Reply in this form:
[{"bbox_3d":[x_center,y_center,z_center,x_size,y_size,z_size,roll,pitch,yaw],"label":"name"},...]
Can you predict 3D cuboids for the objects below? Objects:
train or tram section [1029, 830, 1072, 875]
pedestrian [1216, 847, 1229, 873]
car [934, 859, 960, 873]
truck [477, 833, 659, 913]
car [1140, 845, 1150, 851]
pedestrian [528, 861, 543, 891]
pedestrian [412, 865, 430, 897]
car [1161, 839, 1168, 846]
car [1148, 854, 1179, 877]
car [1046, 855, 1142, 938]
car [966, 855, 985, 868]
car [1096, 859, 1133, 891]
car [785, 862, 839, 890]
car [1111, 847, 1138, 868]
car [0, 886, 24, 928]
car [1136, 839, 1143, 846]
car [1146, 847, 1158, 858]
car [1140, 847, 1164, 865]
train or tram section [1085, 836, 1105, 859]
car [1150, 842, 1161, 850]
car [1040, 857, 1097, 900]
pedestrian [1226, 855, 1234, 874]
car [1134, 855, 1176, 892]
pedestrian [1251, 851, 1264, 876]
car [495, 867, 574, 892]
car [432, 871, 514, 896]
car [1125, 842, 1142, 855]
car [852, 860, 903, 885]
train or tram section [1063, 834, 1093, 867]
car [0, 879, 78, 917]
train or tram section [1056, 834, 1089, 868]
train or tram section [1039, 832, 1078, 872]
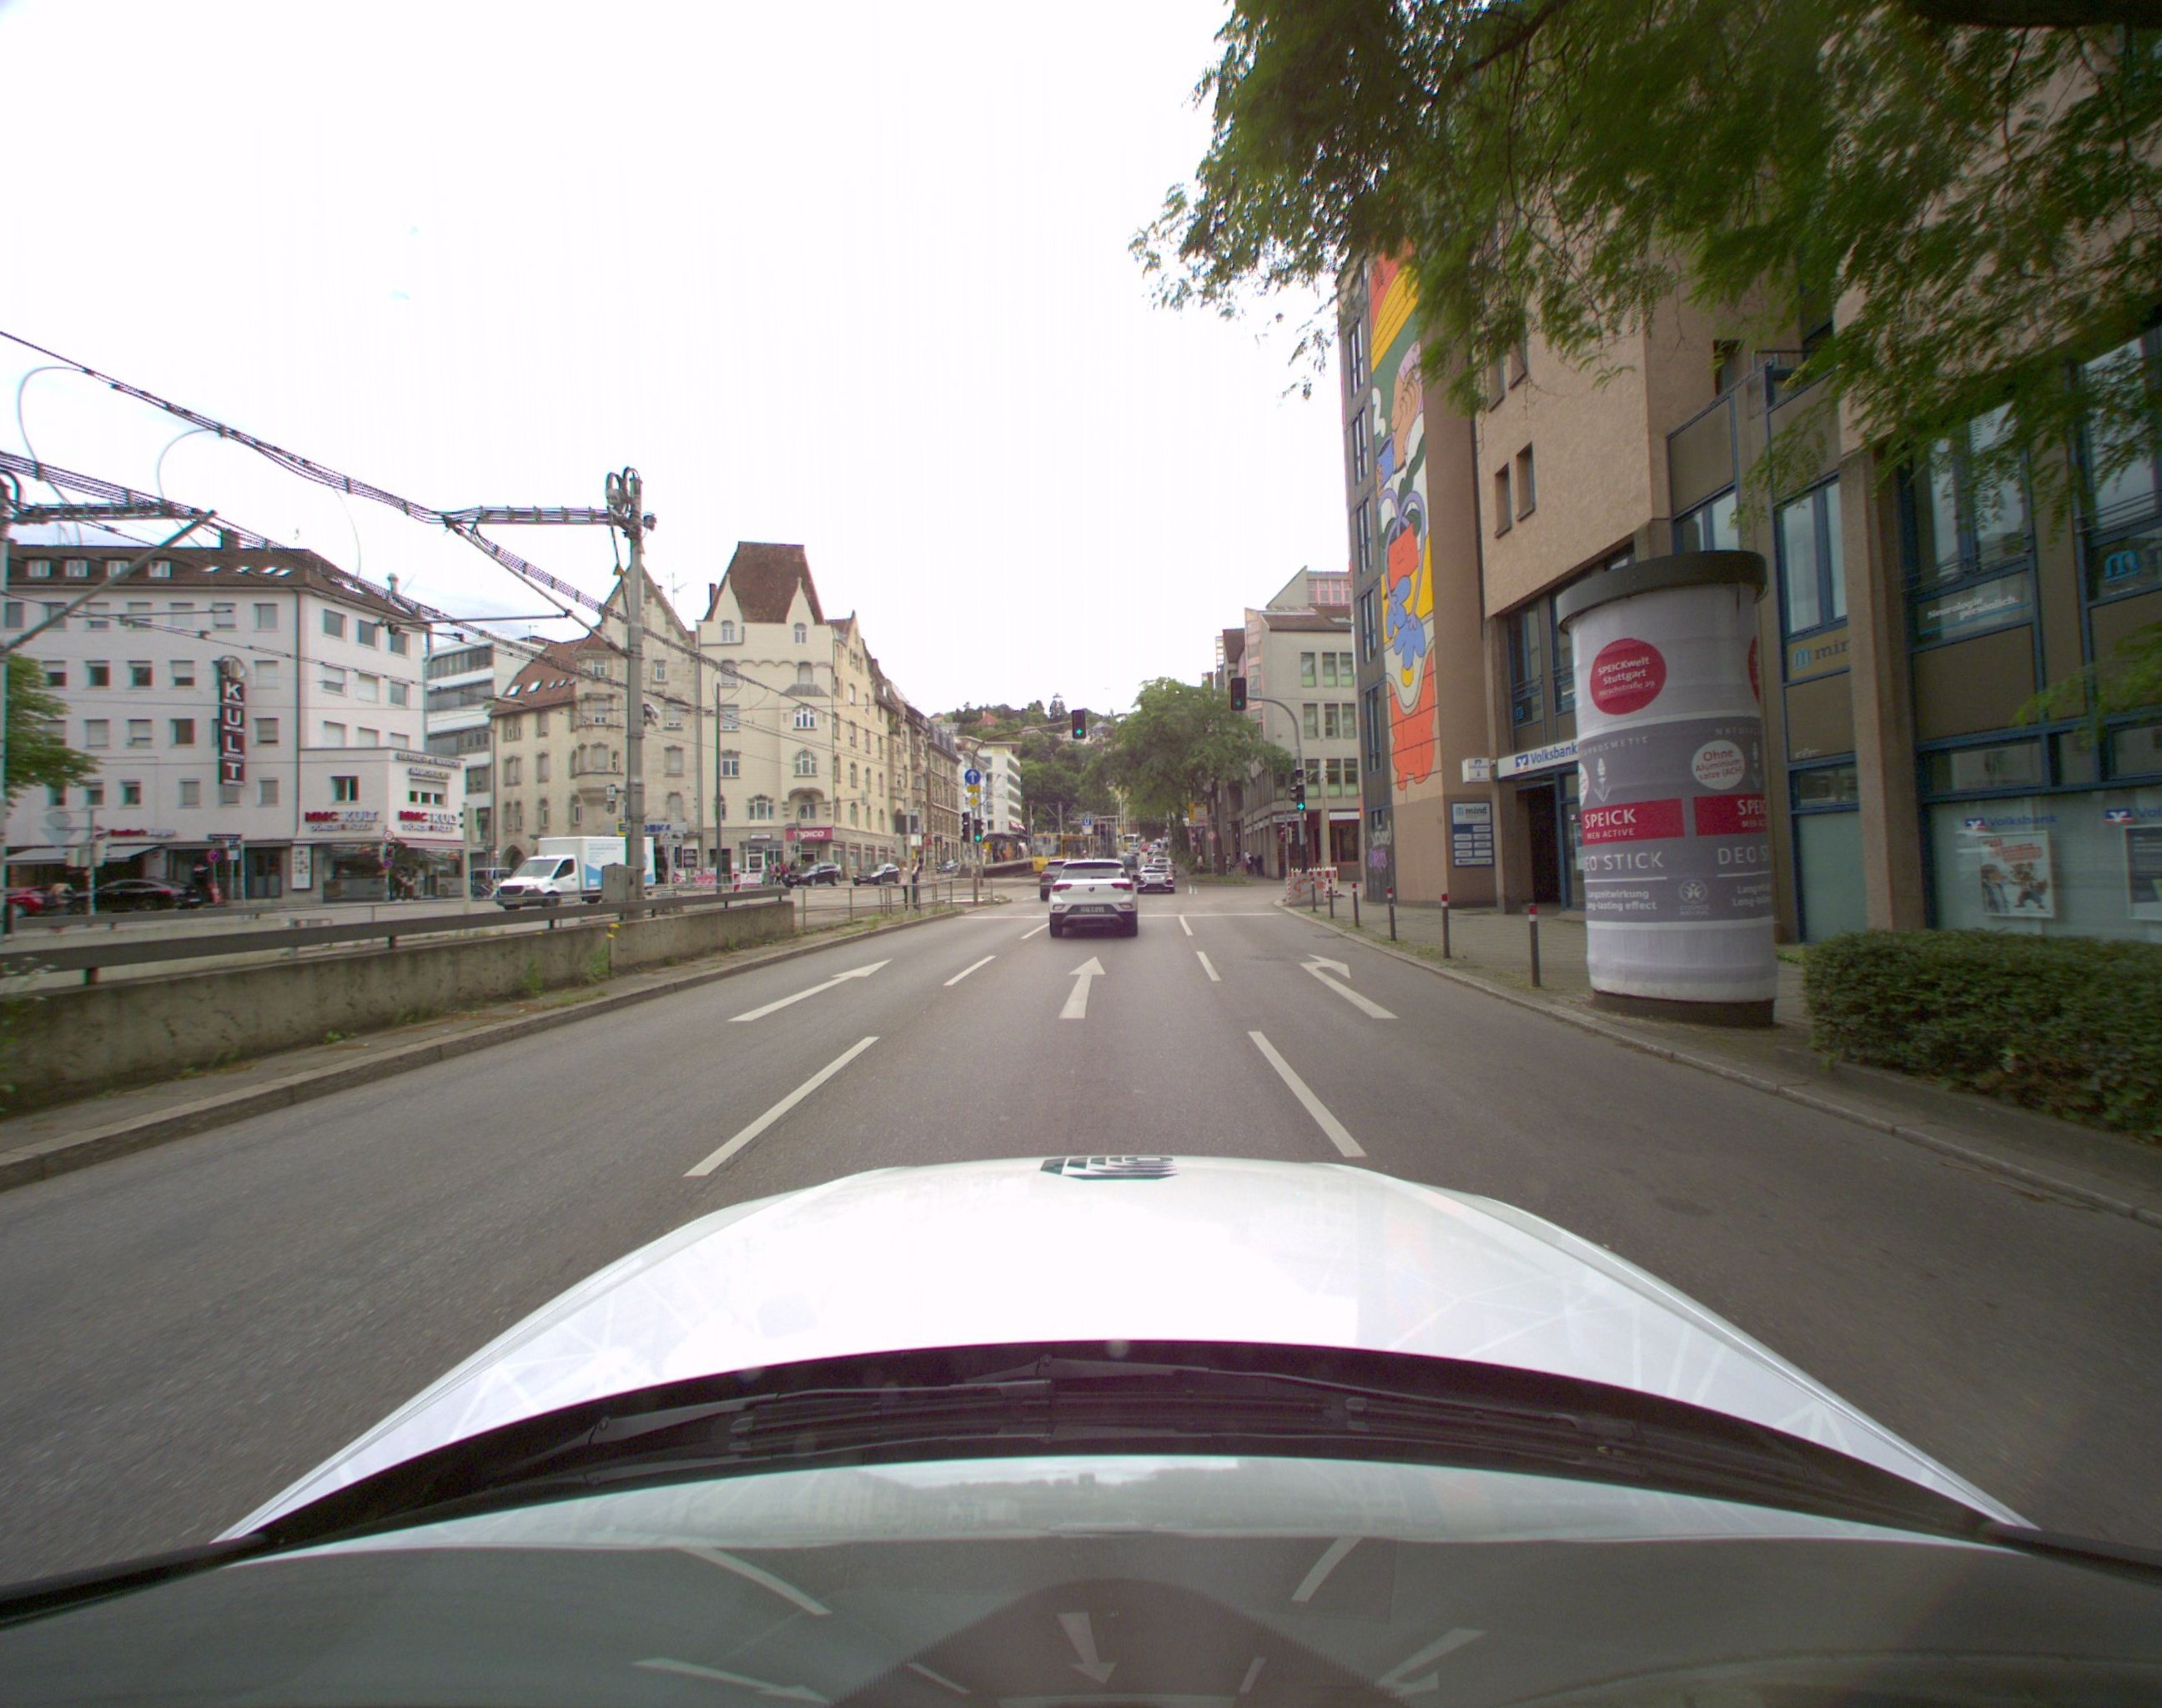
[{"bbox_3d":[-2.511,-0.136,68.834,2.821,3.678,5.760,0,0,5],"label":"train or tram section"},{"bbox_3d":[10.185,0.421,58.495,0.718,1.802,0.835,-4,2,0],"label":"pedestrian"},{"bbox_3d":[-14.299,1.304,87.047,1.622,1.375,3.793,-1,0,9],"label":"car"},{"bbox_3d":[-21.755,0.775,35.172,2.253,3.076,7.394,0,-1,10],"label":"truck"},{"bbox_3d":[12.233,-1.151,155.610,1.572,1.172,3.688,0,0,10],"label":"car"},{"bbox_3d":[-32.185,1.303,48.012,0.569,1.780,0.515,-2,-1,31],"label":"pedestrian"},{"bbox_3d":[-37.625,1.543,46.436,0.506,1.780,0.601,-1,-1,17],"label":"pedestrian"},{"bbox_3d":[19.815,-2.817,193.309,1.666,1.561,3.683,0,-1,5],"label":"car"},{"bbox_3d":[6.205,0.863,61.639,1.880,1.684,4.158,0,-1,-2],"label":"car"},{"bbox_3d":[0.263,0.831,17.693,1.831,1.584,4.156,0,0,0],"label":"car"},{"bbox_3d":[-13.401,0.935,103.406,1.551,1.523,3.606,0,-1,7],"label":"car"},{"bbox_3d":[2.047,1.221,48.562,1.902,1.689,4.008,0,1,7],"label":"car"},{"bbox_3d":[-18.058,1.433,54.817,1.665,1.759,4.789,0,0,5],"label":"car"},{"bbox_3d":[4.320,0.356,80.261,2.352,2.014,5.157,0,-1,7],"label":"car"},{"bbox_3d":[-42.204,1.984,29.782,3.988,1.530,1.944,0,-1,-11],"label":"car"},{"bbox_3d":[14.342,-2.844,200.545,1.665,1.561,3.992,0,0,5],"label":"car"},{"bbox_3d":[11.362,-0.158,129.988,1.876,1.684,4.167,0,-1,5],"label":"car"},{"bbox_3d":[8.421,0.236,96.864,2.357,2.014,5.147,0,0,0],"label":"car"},{"bbox_3d":[2.272,-1.032,131.618,2.801,3.666,6.759,0,0,4],"label":"train or tram section"},{"bbox_3d":[16.037,-1.755,175.957,1.872,1.684,4.174,0,-1,11],"label":"car"},{"bbox_3d":[-0.448,0.979,33.486,1.984,1.636,4.004,-1,-1,4],"label":"car"},{"bbox_3d":[10.554,0.708,57.524,0.469,1.333,0.520,0,-1,1],"label":"pedestrian"},{"bbox_3d":[3.549,0.907,39.205,1.876,1.684,4.166,0,-1,4],"label":"car"},{"bbox_3d":[12.027,0.659,55.535,0.756,1.612,0.621,-3,2,16],"label":"pedestrian"},{"bbox_3d":[-36.592,1.703,54.542,4.468,1.561,1.761,0,-1,12],"label":"car"},{"bbox_3d":[-39.207,1.875,52.538,4.467,1.561,1.761,0,-1,13],"label":"car"},{"bbox_3d":[8.336,-0.821,128.777,2.351,2.014,5.160,0,-1,8],"label":"car"},{"bbox_3d":[-13.841,1.213,55.714,1.646,1.552,4.548,-1,0,10],"label":"car"},{"bbox_3d":[-0.306,-0.391,91.830,2.821,3.521,5.760,0,0,5],"label":"train or tram section"},{"bbox_3d":[-50.839,2.096,38.938,3.628,1.711,1.649,-1,0,-1],"label":"car"},{"bbox_3d":[-0.854,-0.333,86.087,2.821,3.521,5.760,0,0,5],"label":"train or tram section"},{"bbox_3d":[-1.970,-0.168,74.584,2.821,3.521,5.760,0,0,5],"label":"train or tram section"}]
